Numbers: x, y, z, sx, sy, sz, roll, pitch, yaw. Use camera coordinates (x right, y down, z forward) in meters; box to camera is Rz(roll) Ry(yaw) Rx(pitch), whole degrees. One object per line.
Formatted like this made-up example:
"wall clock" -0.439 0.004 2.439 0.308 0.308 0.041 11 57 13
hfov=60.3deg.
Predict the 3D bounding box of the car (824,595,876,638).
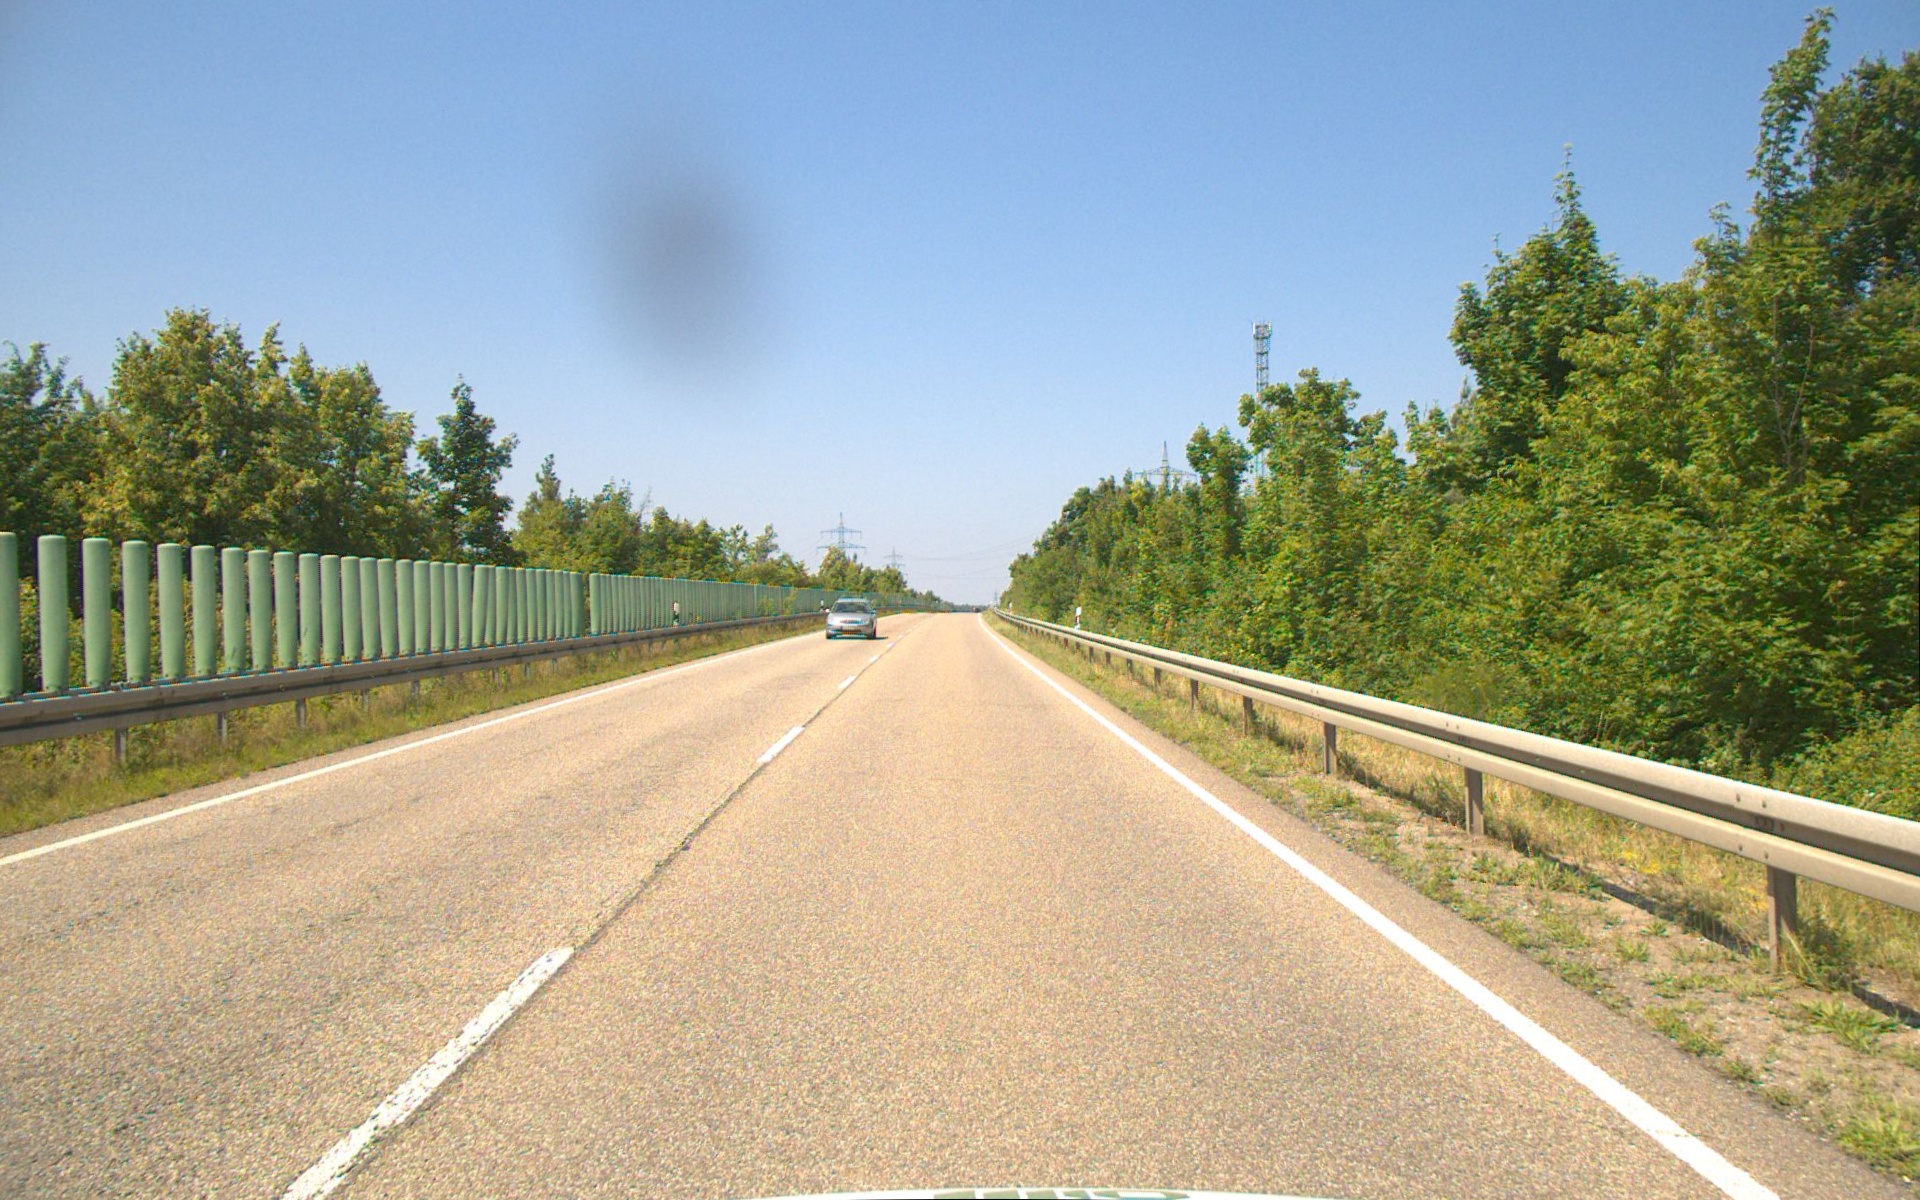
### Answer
"car" -4.050 0.574 61.447 1.685 1.527 4.247 0 0 -1
